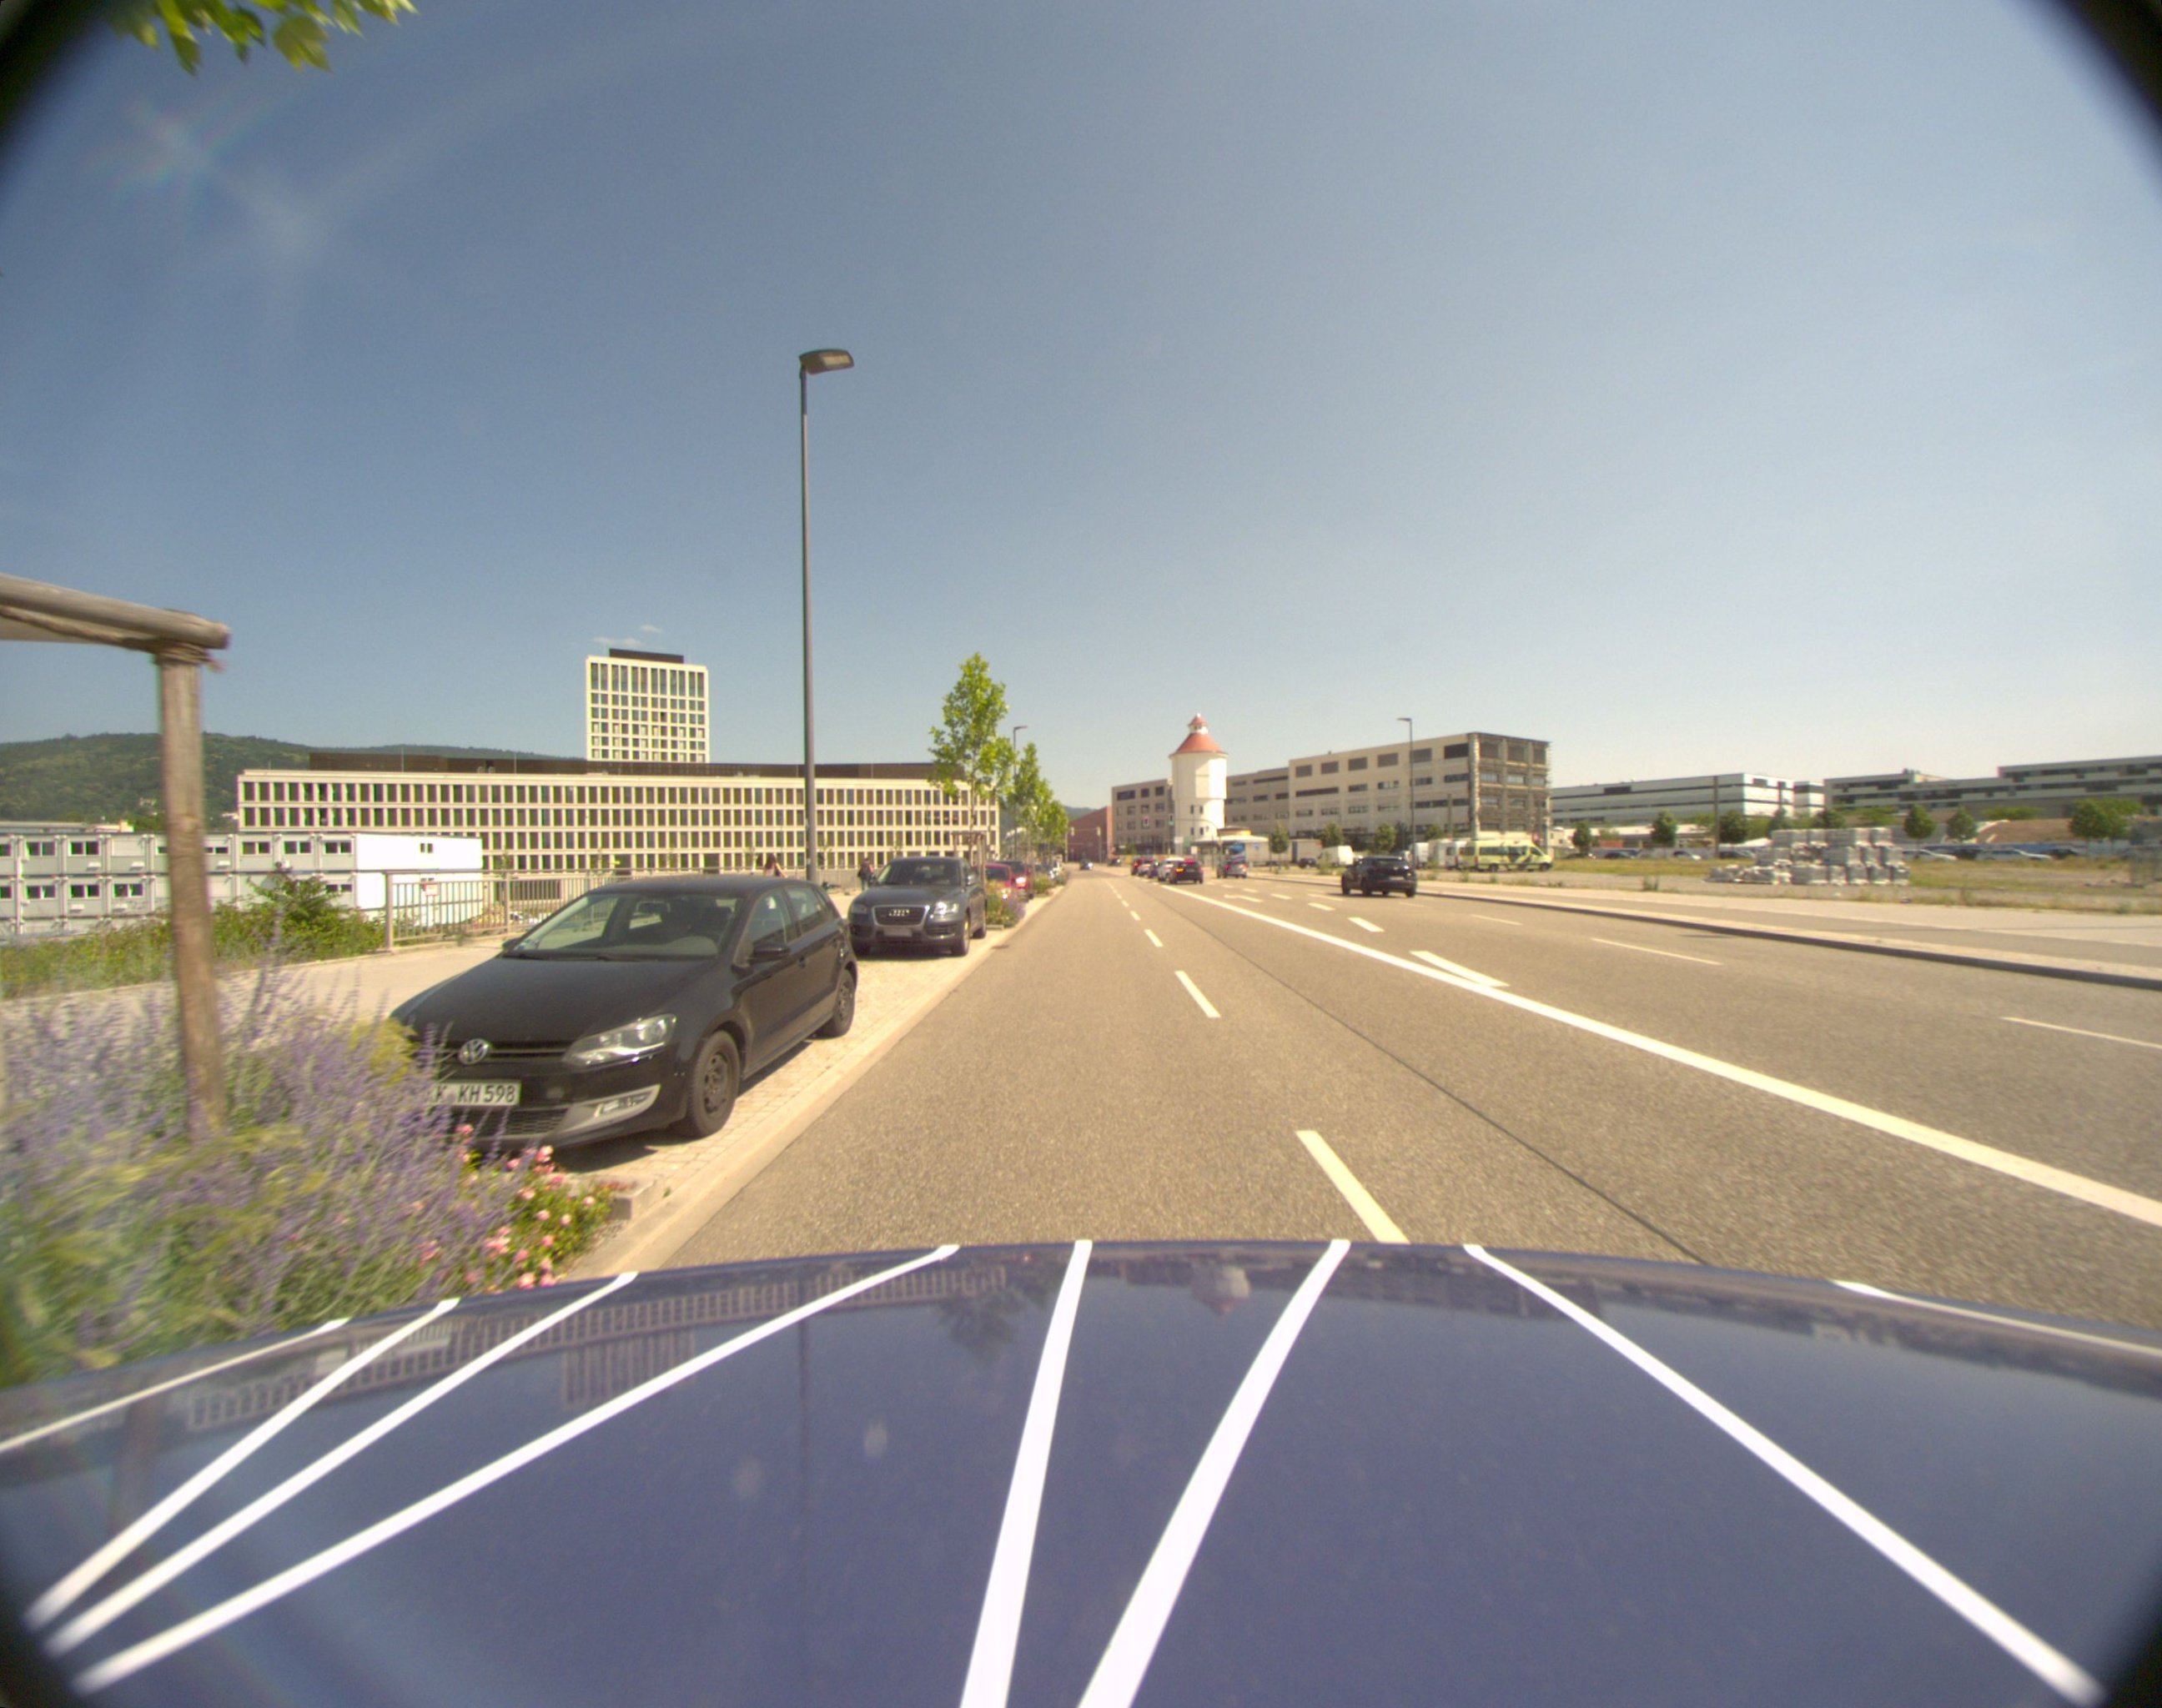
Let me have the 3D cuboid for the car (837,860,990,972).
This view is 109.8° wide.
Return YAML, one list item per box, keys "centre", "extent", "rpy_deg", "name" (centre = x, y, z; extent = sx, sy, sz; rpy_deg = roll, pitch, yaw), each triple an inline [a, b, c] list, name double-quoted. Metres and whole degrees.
- centre: [-2.702, 0.933, 13.246]
  extent: [1.739, 1.599, 4.240]
  rpy_deg: [0, 0, 0]
  name: "car"

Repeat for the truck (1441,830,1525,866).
- centre: [34.855, -0.548, 65.992]
  extent: [5.850, 2.809, 2.570]
  rpy_deg: [-3, 2, 0]
  name: "truck"

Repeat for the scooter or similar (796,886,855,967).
- centre: [-4.098, 1.139, 12.266]
  extent: [0.489, 1.187, 1.261]
  rpy_deg: [-1, 0, 1]
  name: "scooter or similar"

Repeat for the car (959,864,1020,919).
- centre: [-2.666, 1.062, 22.869]
  extent: [1.608, 1.483, 3.817]
  rpy_deg: [0, 0, -4]
  name: "car"

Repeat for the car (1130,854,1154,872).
- centre: [6.348, 0.936, 79.577]
  extent: [1.944, 1.778, 4.655]
  rpy_deg: [-3, 0, -2]
  name: "car"

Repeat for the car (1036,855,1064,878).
- centre: [-2.278, 0.868, 56.469]
  extent: [1.877, 1.618, 4.876]
  rpy_deg: [-1, 0, 0]
  name: "car"

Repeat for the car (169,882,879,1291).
- centre: [-2.741, 0.991, 5.100]
  extent: [1.637, 1.421, 4.240]
  rpy_deg: [-1, 0, 0]
  name: "car"

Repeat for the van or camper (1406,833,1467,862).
- centre: [35.142, -0.597, 75.154]
  extent: [4.912, 2.646, 2.260]
  rpy_deg: [-2, 0, 1]
  name: "van or camper"

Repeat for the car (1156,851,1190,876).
- centre: [6.457, 0.653, 53.889]
  extent: [1.918, 1.640, 4.731]
  rpy_deg: [-1, 0, 1]
  name: "car"

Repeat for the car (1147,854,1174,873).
- centre: [6.592, 0.816, 63.523]
  extent: [1.790, 1.413, 4.283]
  rpy_deg: [-3, -1, 1]
  name: "car"

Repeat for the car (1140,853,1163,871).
- centre: [6.635, 0.745, 71.370]
  extent: [1.783, 1.672, 4.099]
  rpy_deg: [0, 0, 0]
  name: "car"

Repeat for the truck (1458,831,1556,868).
- centre: [35.237, -0.378, 63.000]
  extent: [6.654, 2.809, 2.602]
  rpy_deg: [-2, 0, -2]
  name: "truck"

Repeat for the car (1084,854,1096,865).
- centre: [1.295, 0.881, 116.233]
  extent: [1.783, 1.552, 3.831]
  rpy_deg: [-1, 1, 0]
  name: "car"

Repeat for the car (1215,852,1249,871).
- centre: [12.321, 0.600, 62.412]
  extent: [1.907, 1.487, 4.387]
  rpy_deg: [-1, 0, 0]
  name: "car"

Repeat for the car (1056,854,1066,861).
- centre: [-4.127, 0.707, 159.954]
  extent: [1.783, 1.552, 3.832]
  rpy_deg: [-1, 0, 3]
  name: "car"

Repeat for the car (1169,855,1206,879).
- centre: [6.522, 0.785, 46.958]
  extent: [1.791, 1.390, 4.572]
  rpy_deg: [-1, 0, 2]
  name: "car"

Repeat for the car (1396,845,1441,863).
- centre: [34.909, 0.007, 78.579]
  extent: [3.876, 1.748, 1.657]
  rpy_deg: [-2, 0, -3]
  name: "car"

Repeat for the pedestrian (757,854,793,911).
- centre: [-9.366, 0.861, 23.285]
  extent: [0.782, 1.695, 0.742]
  rpy_deg: [-1, 1, 1]
  name: "pedestrian"

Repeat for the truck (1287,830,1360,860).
- centre: [39.563, -1.486, 123.995]
  extent: [10.950, 4.251, 3.341]
  rpy_deg: [-3, 2, -10]
  name: "truck"

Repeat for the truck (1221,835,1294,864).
- centre: [28.172, -0.803, 121.378]
  extent: [10.987, 4.045, 3.297]
  rpy_deg: [-3, 2, -17]
  name: "truck"

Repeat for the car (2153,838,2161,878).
- centre: [56.915, 0.184, 37.428]
  extent: [2.003, 2.002, 4.642]
  rpy_deg: [-1, 0, -32]
  name: "car"

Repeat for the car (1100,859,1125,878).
- centre: [2.745, 1.234, 66.398]
  extent: [1.998, 1.510, 4.000]
  rpy_deg: [-2, 0, 1]
  name: "car"

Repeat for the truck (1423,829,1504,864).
- centre: [35.603, -0.745, 70.895]
  extent: [6.160, 2.885, 2.570]
  rpy_deg: [-3, 2, 2]
  name: "truck"

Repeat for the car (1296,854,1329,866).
- centre: [32.402, 0.821, 106.326]
  extent: [4.001, 1.630, 1.878]
  rpy_deg: [-2, 1, -12]
  name: "car"

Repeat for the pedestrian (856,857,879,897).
- centre: [-9.373, 1.000, 33.414]
  extent: [0.733, 1.696, 0.651]
  rpy_deg: [-3, 2, 2]
  name: "pedestrian"

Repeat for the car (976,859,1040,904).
- centre: [-2.808, 1.040, 30.264]
  extent: [1.913, 1.607, 4.549]
  rpy_deg: [-1, 0, 2]
  name: "car"

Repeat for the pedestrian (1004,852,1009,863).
- centre: [-11.954, 0.528, 122.312]
  extent: [0.827, 1.773, 0.926]
  rpy_deg: [-1, 2, -8]
  name: "pedestrian"

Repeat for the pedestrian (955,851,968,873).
- centre: [-8.893, 0.567, 56.527]
  extent: [0.752, 1.600, 0.949]
  rpy_deg: [1, 0, 1]
  name: "pedestrian"

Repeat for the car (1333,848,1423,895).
- centre: [11.182, 0.614, 28.961]
  extent: [1.907, 1.618, 4.388]
  rpy_deg: [-1, 0, 3]
  name: "car"

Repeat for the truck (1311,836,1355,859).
- centre: [30.196, -0.735, 91.273]
  extent: [2.174, 2.640, 5.938]
  rpy_deg: [-1, 1, -14]
  name: "truck"

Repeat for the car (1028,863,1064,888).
- centre: [-2.151, 1.324, 47.706]
  extent: [1.913, 1.470, 4.158]
  rpy_deg: [-1, 0, 2]
  name: "car"
